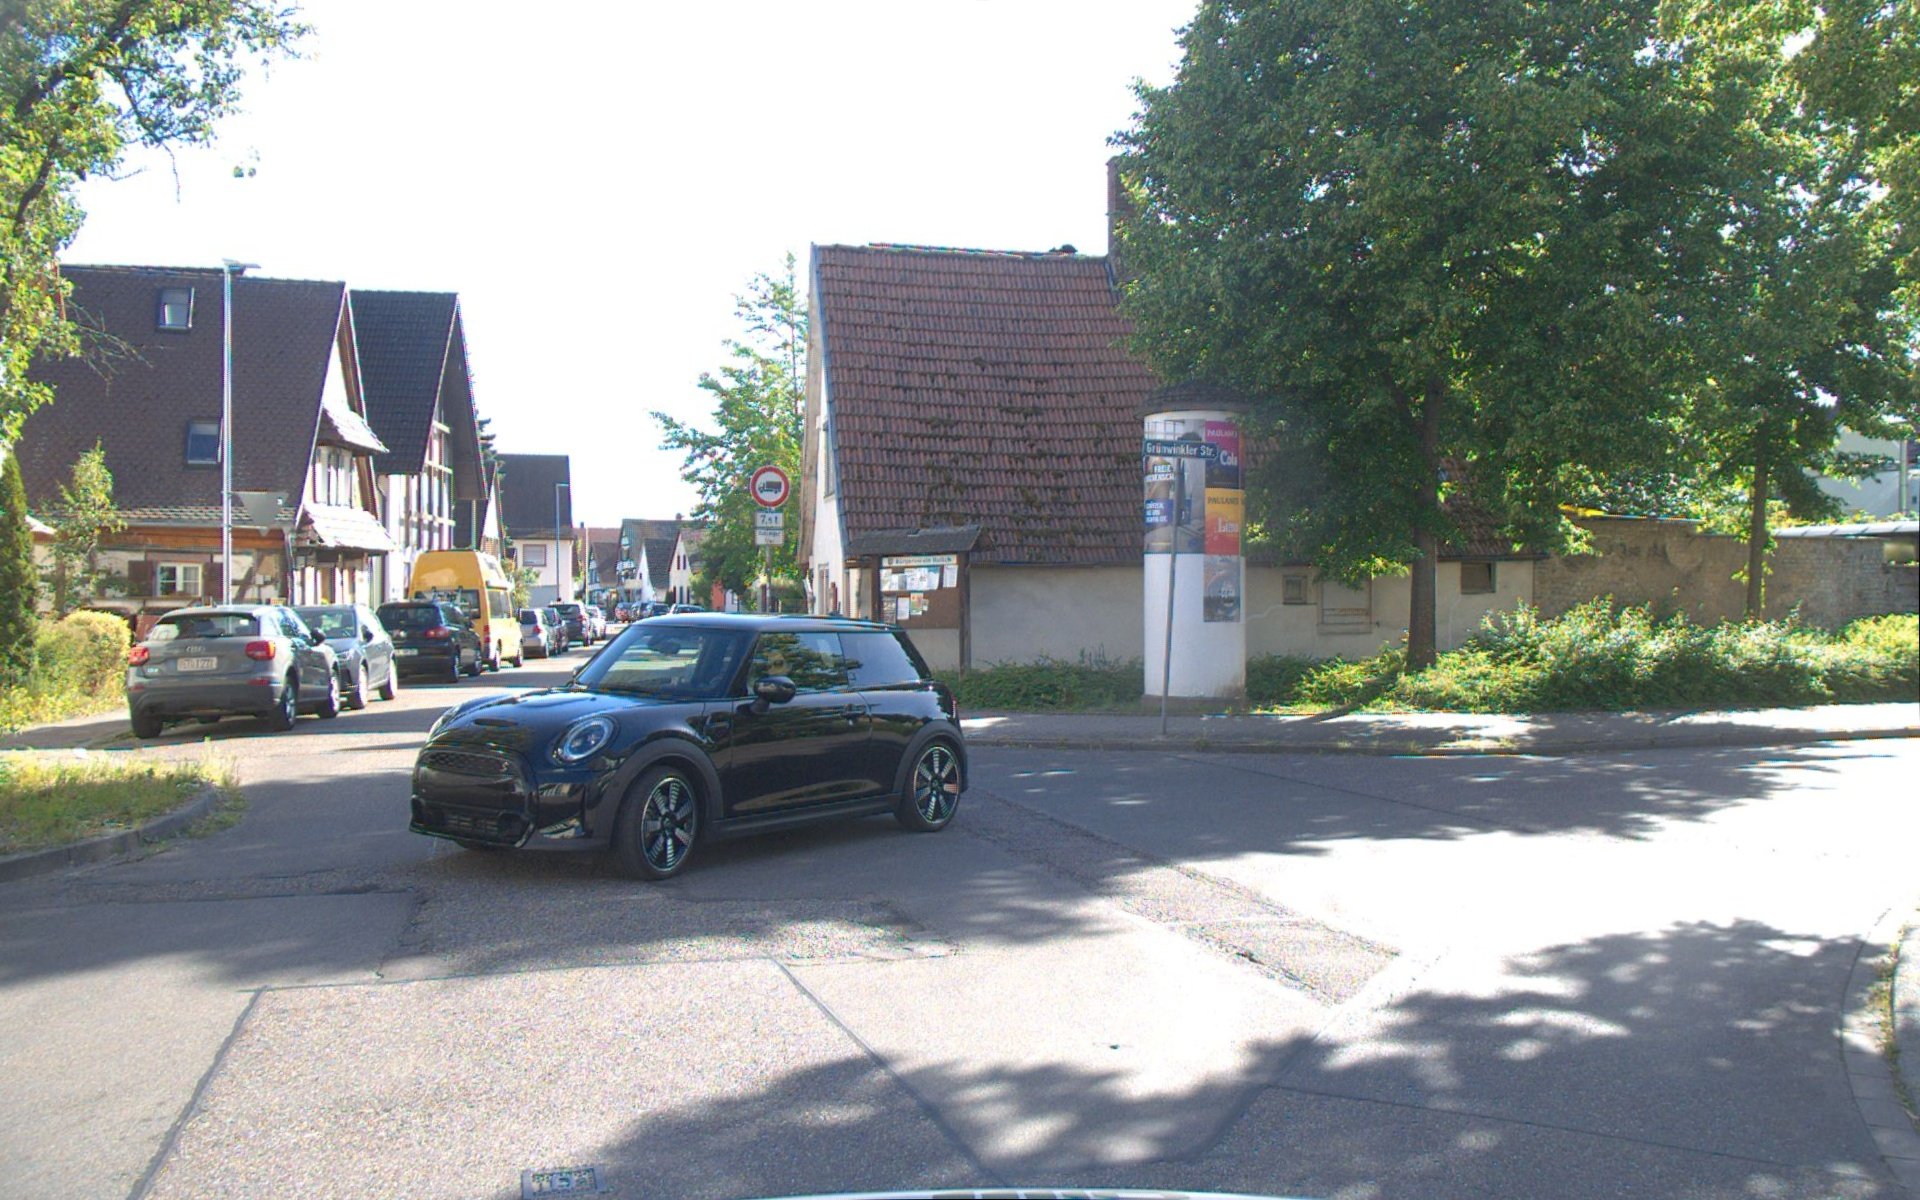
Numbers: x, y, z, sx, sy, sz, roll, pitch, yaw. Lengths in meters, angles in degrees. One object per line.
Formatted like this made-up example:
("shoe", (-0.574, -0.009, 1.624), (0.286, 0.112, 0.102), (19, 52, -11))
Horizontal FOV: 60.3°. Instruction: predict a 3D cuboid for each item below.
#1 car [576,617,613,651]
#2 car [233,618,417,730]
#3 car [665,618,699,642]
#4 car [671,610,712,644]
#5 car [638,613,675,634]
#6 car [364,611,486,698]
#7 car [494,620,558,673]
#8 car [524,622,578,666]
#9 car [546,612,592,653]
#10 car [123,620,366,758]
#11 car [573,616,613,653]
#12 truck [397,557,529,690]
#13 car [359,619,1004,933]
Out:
("car", (-16.201, 1.482, 73.452), (1.560, 1.468, 3.604), (0, -1, -12))
("car", (-9.565, 1.065, 25.228), (1.773, 1.532, 4.099), (-1, -1, -9))
("car", (-19.547, 2.077, 116.231), (1.941, 1.610, 3.977), (0, -1, -16))
("car", (-14.082, 1.415, 86.603), (1.938, 1.744, 3.983), (0, -1, -12))
("car", (-23.521, 1.816, 128.102), (1.947, 1.610, 3.966), (0, -1, -23))
("car", (-10.939, 1.083, 34.038), (1.773, 1.650, 3.872), (-1, -1, -9))
("car", (-12.694, 1.336, 48.525), (1.616, 1.458, 3.604), (0, -1, -12))
("car", (-13.114, 1.385, 53.151), (1.560, 1.359, 3.604), (0, -1, -12))
("car", (-14.521, 1.181, 61.609), (1.560, 1.468, 3.604), (0, -1, -12))
("car", (-8.881, 1.042, 20.899), (1.833, 1.532, 4.099), (-1, -1, -9))
("car", (-15.267, 1.409, 68.911), (1.560, 1.468, 3.604), (0, -1, -12))
("truck", (-11.765, 0.567, 39.566), (2.226, 2.919, 5.770), (-1, -1, -9))
("car", (-1.526, 0.903, 10.346), (1.632, 1.503, 3.984), (0, 0, 36))
